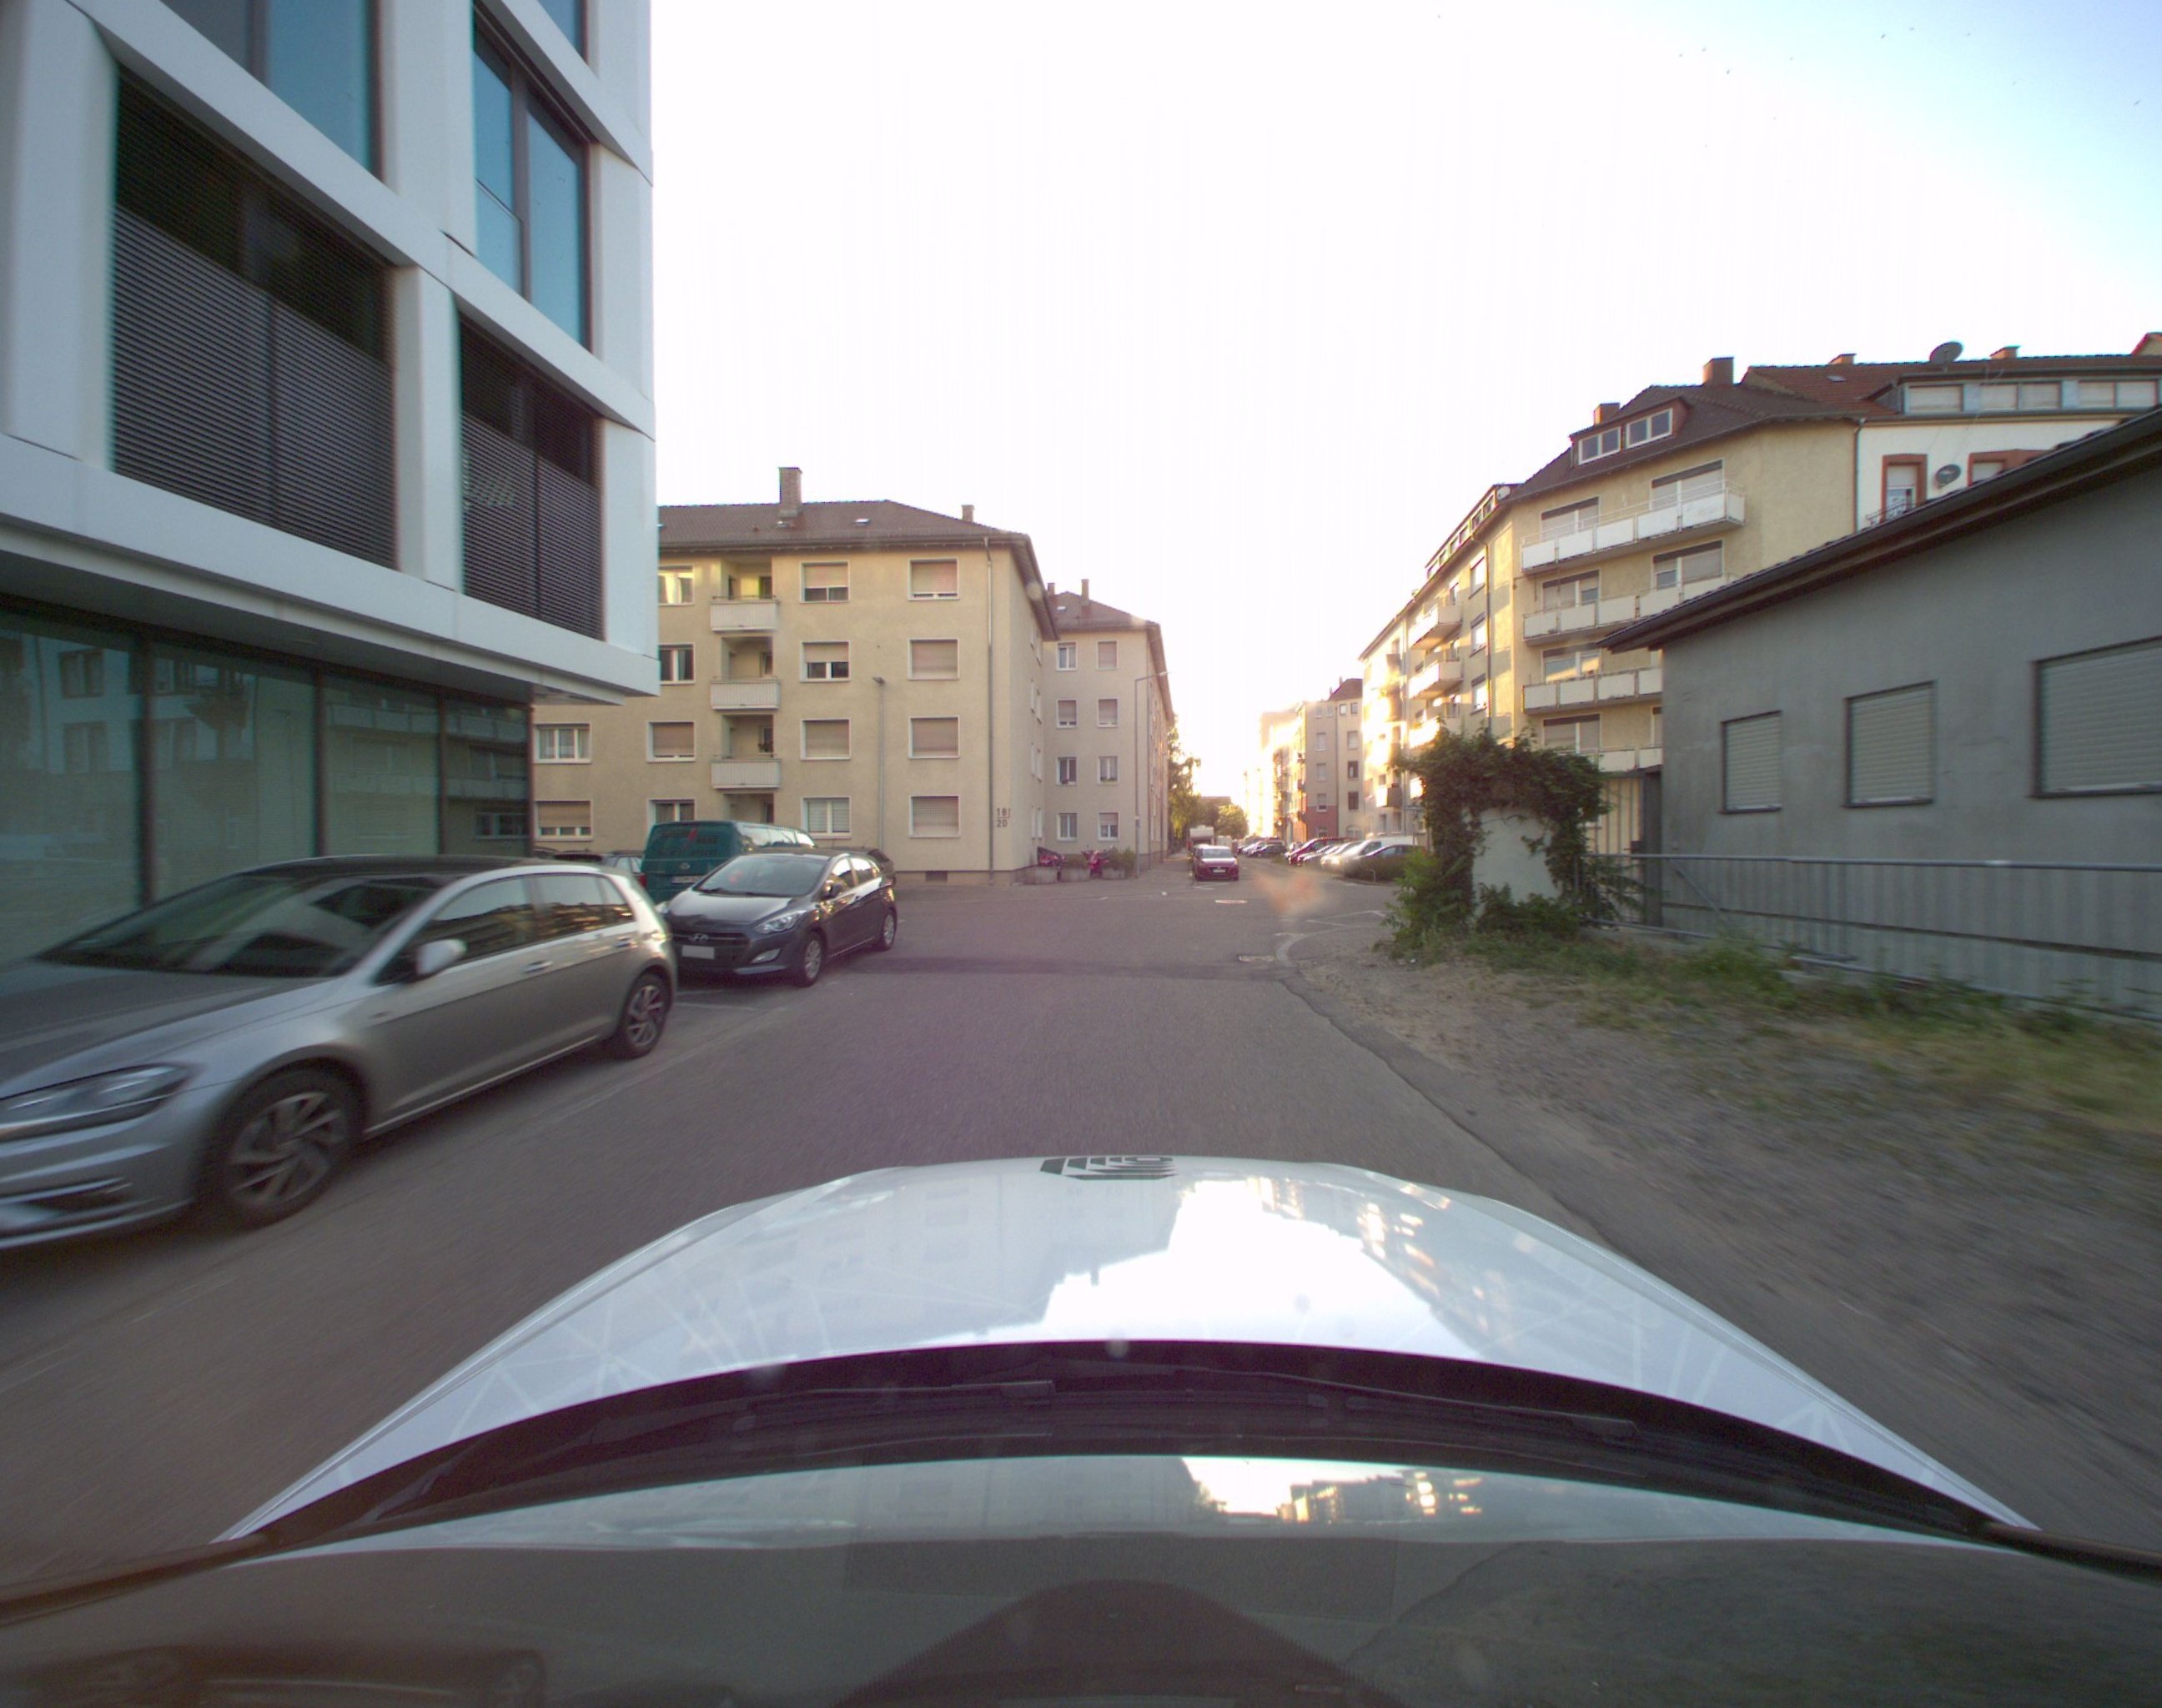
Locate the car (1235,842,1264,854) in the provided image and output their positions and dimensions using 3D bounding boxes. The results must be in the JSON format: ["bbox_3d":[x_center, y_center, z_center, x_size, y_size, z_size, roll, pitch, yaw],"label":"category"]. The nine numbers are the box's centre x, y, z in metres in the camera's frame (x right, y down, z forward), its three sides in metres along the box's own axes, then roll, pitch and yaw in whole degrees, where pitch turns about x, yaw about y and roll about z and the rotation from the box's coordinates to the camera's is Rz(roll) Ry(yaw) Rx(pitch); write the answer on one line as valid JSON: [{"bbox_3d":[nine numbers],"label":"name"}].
[{"bbox_3d":[24.548,-0.858,118.875,3.965,1.530,1.662,-2,0,7],"label":"car"}]

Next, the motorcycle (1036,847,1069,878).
[{"bbox_3d":[-1.192,0.325,34.521,0.717,1.264,2.091,0,1,18],"label":"motorcycle"}]

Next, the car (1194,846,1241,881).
[{"bbox_3d":[6.015,0.372,36.235,1.836,1.473,4.085,-1,0,6],"label":"car"}]

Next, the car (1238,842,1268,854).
[{"bbox_3d":[24.484,-0.829,116.110,3.965,1.530,1.662,-2,0,7],"label":"car"}]

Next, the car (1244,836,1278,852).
[{"bbox_3d":[23.237,-1.286,105.260,3.969,2.013,2.002,-1,0,4],"label":"car"}]

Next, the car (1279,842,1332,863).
[{"bbox_3d":[17.604,-0.119,63.895,3.791,1.428,1.638,-2,0,7],"label":"car"}]

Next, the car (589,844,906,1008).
[{"bbox_3d":[-3.694,0.660,10.026,1.771,1.478,4.337,3,1,4],"label":"car"}]

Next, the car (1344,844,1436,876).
[{"bbox_3d":[14.880,0.293,39.345,3.851,1.492,1.745,-1,0,7],"label":"car"}]

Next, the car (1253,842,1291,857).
[{"bbox_3d":[21.587,-0.515,92.272,3.965,1.530,1.662,-2,0,7],"label":"car"}]

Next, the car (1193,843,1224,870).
[{"bbox_3d":[7.436,0.131,47.807,1.607,1.473,3.511,-2,0,6],"label":"car"}]

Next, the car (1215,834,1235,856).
[{"bbox_3d":[18.457,-1.142,104.613,2.118,2.717,4.842,-2,0,6],"label":"car"}]

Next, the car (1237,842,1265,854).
[{"bbox_3d":[25.240,-0.899,120.772,3.965,1.530,1.662,-2,0,7],"label":"car"}]

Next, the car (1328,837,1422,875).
[{"bbox_3d":[14.994,0.097,41.742,4.256,1.860,1.745,0,0,7],"label":"car"}]

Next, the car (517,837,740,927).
[{"bbox_3d":[-8.768,0.529,16.305,1.771,1.550,4.336,0,-1,4],"label":"car"}]

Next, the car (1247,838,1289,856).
[{"bbox_3d":[22.795,-0.836,99.173,4.787,1.967,1.742,-2,0,7],"label":"car"}]

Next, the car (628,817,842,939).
[{"bbox_3d":[-6.336,0.344,15.636,1.790,1.979,4.695,0,1,4],"label":"car"}]

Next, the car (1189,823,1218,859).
[{"bbox_3d":[12.143,-1.293,81.141,2.605,3.268,7.715,-2,0,8],"label":"car"}]

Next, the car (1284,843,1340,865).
[{"bbox_3d":[17.355,0.002,61.385,3.791,1.428,1.638,-2,0,7],"label":"car"}]

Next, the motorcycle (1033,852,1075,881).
[{"bbox_3d":[-1.051,0.474,32.215,0.716,1.079,2.094,0,1,28],"label":"motorcycle"}]

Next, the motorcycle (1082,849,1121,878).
[{"bbox_3d":[0.893,0.387,34.509,0.682,1.160,2.047,0,1,32],"label":"motorcycle"}]

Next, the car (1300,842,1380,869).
[{"bbox_3d":[15.331,0.082,48.343,4.284,1.449,1.659,-2,0,7],"label":"car"}]

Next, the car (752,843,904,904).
[{"bbox_3d":[-7.691,0.567,25.056,3.991,1.617,1.883,-1,5,2],"label":"car"}]

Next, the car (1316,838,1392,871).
[{"bbox_3d":[15.427,0.022,46.191,3.770,1.695,1.659,-2,0,7],"label":"car"}]

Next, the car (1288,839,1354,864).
[{"bbox_3d":[17.319,-0.172,58.980,4.301,1.637,1.821,-2,0,7],"label":"car"}]

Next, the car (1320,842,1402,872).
[{"bbox_3d":[15.055,0.148,43.940,3.933,1.522,1.710,-1,0,7],"label":"car"}]

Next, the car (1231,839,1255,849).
[{"bbox_3d":[28.027,-1.725,141.341,3.965,1.530,1.662,-2,0,7],"label":"car"}]

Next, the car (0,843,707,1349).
[{"bbox_3d":[-4.037,0.727,4.633,1.704,1.478,4.187,3,1,2],"label":"car"}]

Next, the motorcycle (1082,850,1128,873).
[{"bbox_3d":[1.166,0.349,39.053,2.106,1.105,0.563,0,0,19],"label":"motorcycle"}]

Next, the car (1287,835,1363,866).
[{"bbox_3d":[16.779,-0.219,56.185,4.697,1.909,2.063,-2,0,7],"label":"car"}]

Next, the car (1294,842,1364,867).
[{"bbox_3d":[16.273,0.013,53.607,4.123,1.471,1.639,-2,0,6],"label":"car"}]

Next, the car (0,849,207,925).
[{"bbox_3d":[-23.710,0.744,18.934,1.721,1.612,4.470,0,-1,4],"label":"car"}]
